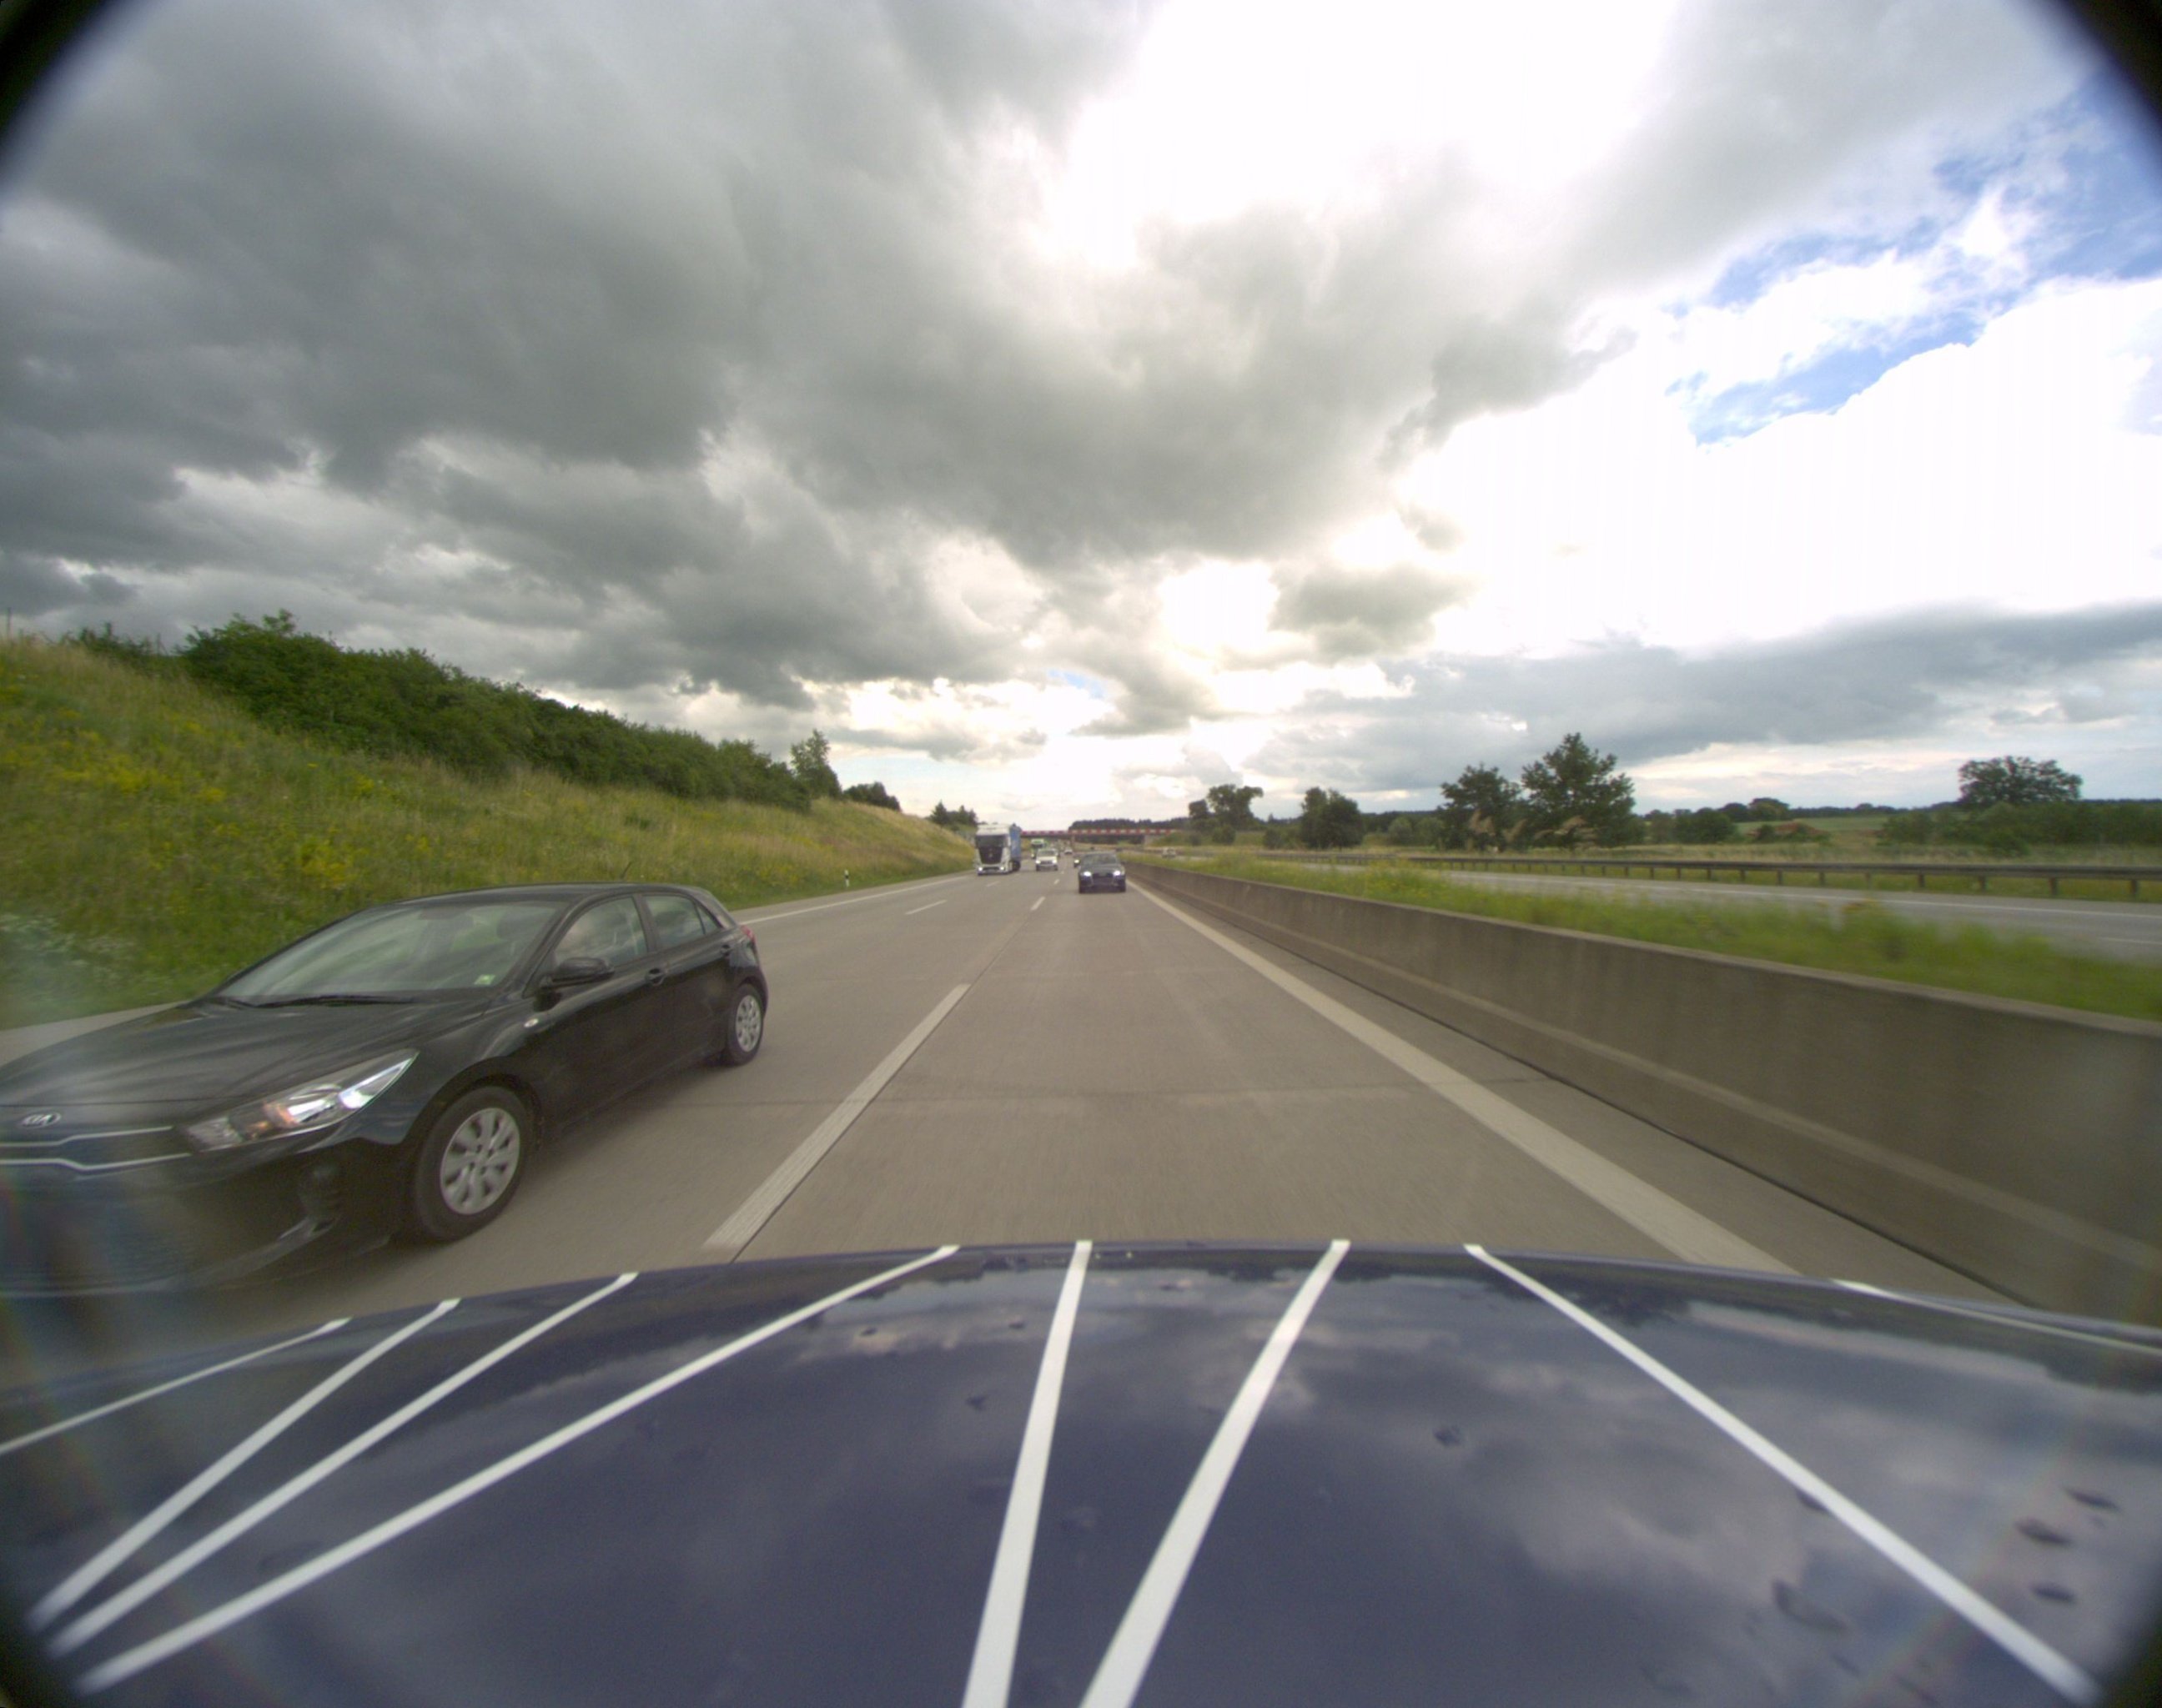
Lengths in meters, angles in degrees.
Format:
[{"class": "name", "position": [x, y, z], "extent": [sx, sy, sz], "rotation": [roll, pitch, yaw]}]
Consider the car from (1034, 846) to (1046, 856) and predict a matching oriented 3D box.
[{"class": "car", "position": [-8.448, -0.613, 156.292], "extent": [2.358, 2.002, 4.811], "rotation": [-2, 1, -1]}]

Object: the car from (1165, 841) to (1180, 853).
[{"class": "car", "position": [15.490, -1.147, 128.664], "extent": [1.998, 2.002, 3.999], "rotation": [-2, 1, 1]}]

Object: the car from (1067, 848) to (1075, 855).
[{"class": "car", "position": [-2.706, -0.716, 205.411], "extent": [1.998, 2.002, 4.000], "rotation": [-1, 0, 1]}]

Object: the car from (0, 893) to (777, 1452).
[{"class": "car", "position": [-3.374, 1.056, 4.228], "extent": [1.691, 1.405, 4.000], "rotation": [-2, 0, 0]}]

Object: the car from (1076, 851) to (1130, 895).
[{"class": "car", "position": [0.988, 0.716, 30.842], "extent": [1.796, 1.586, 5.159], "rotation": [-2, 0, 5]}]

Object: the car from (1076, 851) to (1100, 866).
[{"class": "car", "position": [0.763, 0.475, 77.740], "extent": [1.939, 1.464, 4.002], "rotation": [-2, 0, 7]}]

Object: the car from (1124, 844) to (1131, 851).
[{"class": "car", "position": [14.259, -1.900, 233.985], "extent": [1.998, 2.002, 3.999], "rotation": [-2, 1, 1]}]

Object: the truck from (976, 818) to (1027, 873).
[{"class": "truck", "position": [-6.518, -0.653, 63.879], "extent": [2.854, 4.175, 10.710], "rotation": [-2, 0, 1]}]

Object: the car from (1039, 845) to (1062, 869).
[{"class": "car", "position": [-2.737, 0.263, 68.730], "extent": [1.999, 2.002, 3.999], "rotation": [-2, 0, -1]}]
